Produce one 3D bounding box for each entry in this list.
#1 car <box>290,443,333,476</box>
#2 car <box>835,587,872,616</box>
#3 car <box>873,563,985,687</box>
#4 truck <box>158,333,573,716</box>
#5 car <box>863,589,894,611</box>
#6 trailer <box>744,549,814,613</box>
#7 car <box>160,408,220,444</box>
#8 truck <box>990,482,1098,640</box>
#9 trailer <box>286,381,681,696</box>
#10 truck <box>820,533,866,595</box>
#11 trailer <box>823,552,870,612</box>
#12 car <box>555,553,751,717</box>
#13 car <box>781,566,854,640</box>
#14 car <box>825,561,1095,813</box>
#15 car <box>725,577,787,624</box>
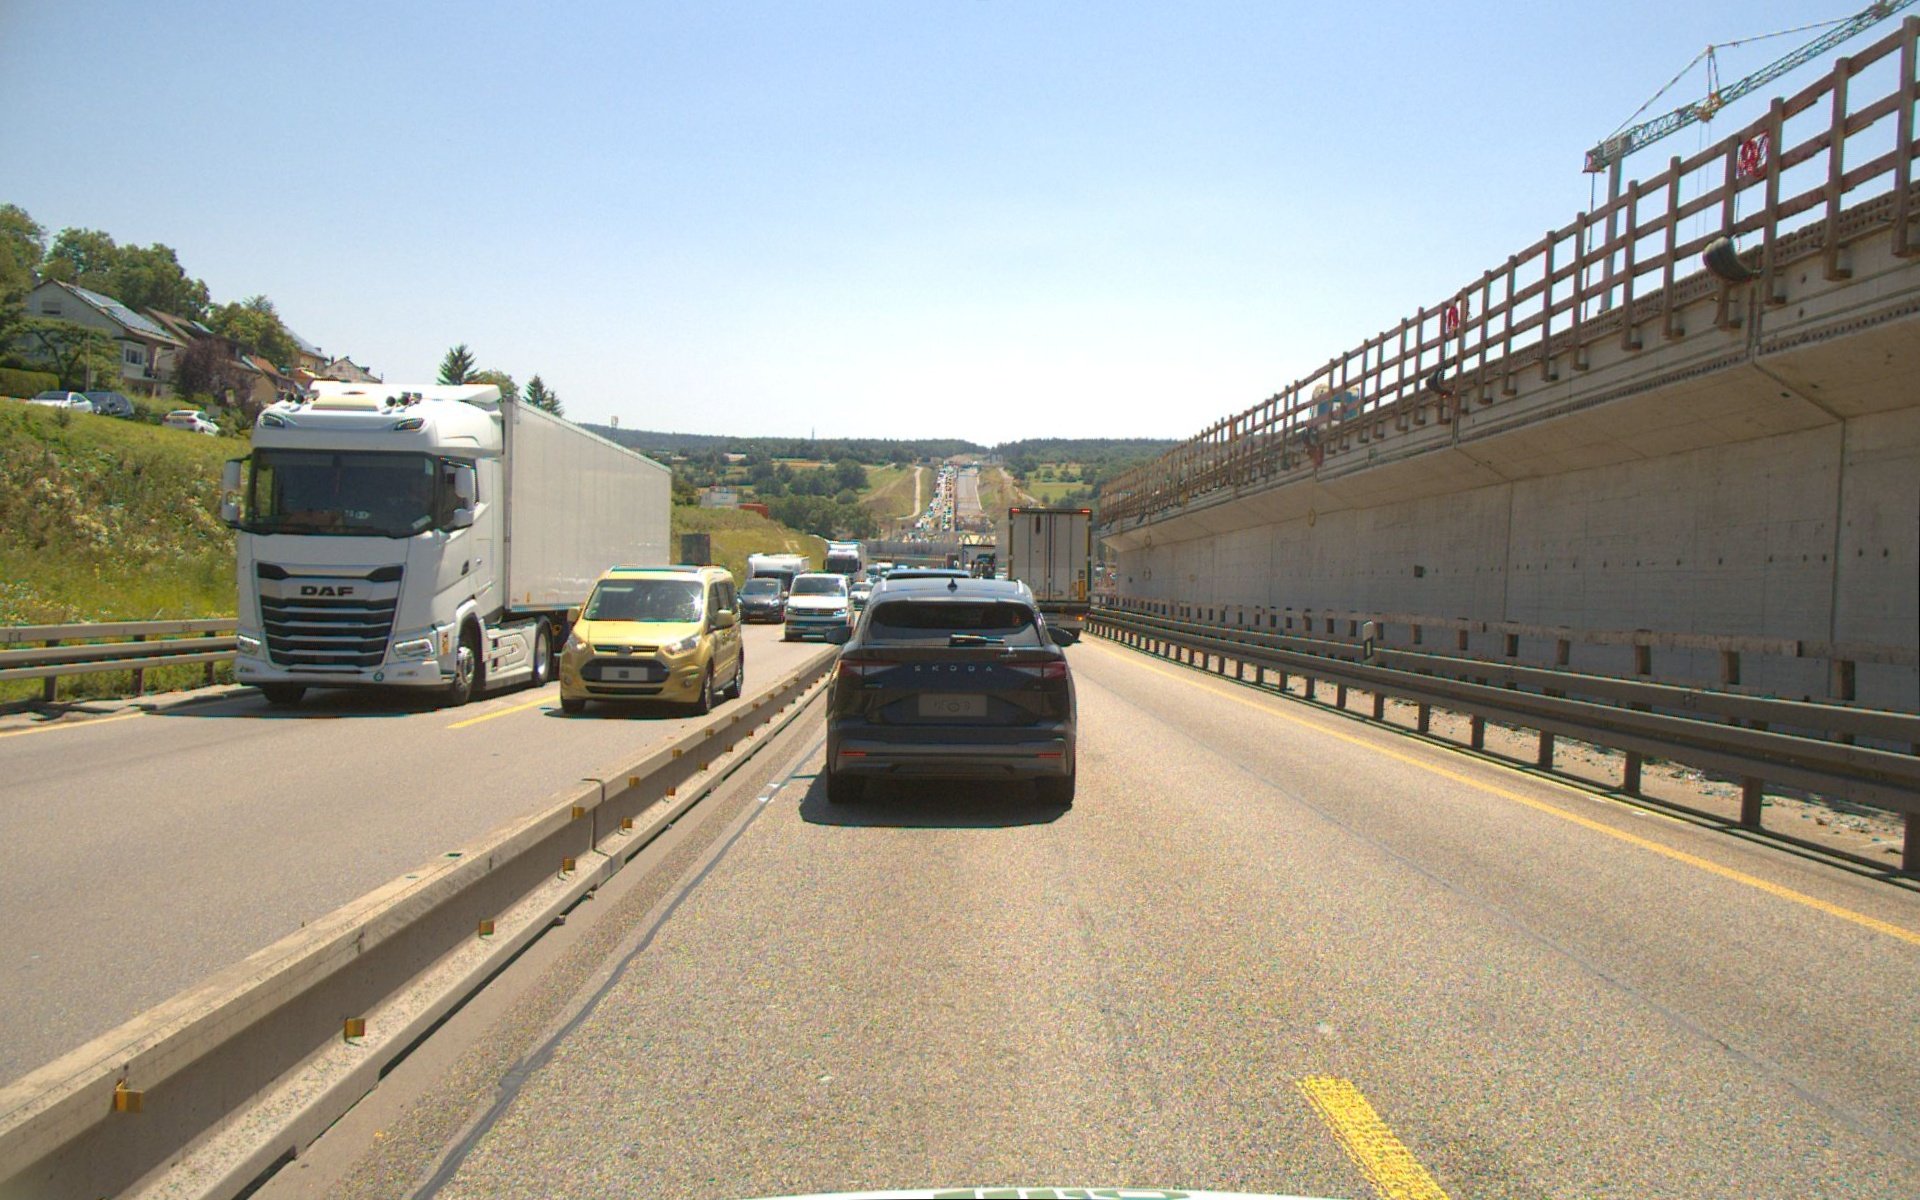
[{"bbox_3d":[-42.539,-9.207,108.620,1.891,1.758,3.989,1,0,-11],"label":"car"},{"bbox_3d":[-5.519,0.098,85.926,1.668,1.466,3.999,0,-1,0],"label":"car"},{"bbox_3d":[-0.607,0.415,29.203,1.715,1.928,3.752,4,0,-4],"label":"car"},{"bbox_3d":[-7.560,-0.832,22.170,3.115,4.312,6.484,1,-1,0],"label":"truck"},{"bbox_3d":[-5.180,0.000,105.190,1.735,1.311,3.999,2,-1,0],"label":"car"},{"bbox_3d":[-7.884,-0.781,72.649,2.434,2.659,5.866,0,-1,0],"label":"trailer"},{"bbox_3d":[-41.402,-9.367,89.029,1.959,1.342,3.988,5,-1,-12],"label":"car"},{"bbox_3d":[2.648,-1.105,55.996,2.788,4.696,11.808,2,-1,-1],"label":"truck"},{"bbox_3d":[-7.607,-0.861,29.205,3.155,4.231,13.406,1,0,-1],"label":"trailer"},{"bbox_3d":[-9.006,-2.692,128.199,2.697,4.300,8.098,5,-1,0],"label":"truck"},{"bbox_3d":[-9.157,-1.306,134.887,2.705,4.347,14.630,5,-1,-1],"label":"trailer"},{"bbox_3d":[-3.825,0.391,21.315,1.739,1.852,4.432,1,0,-1],"label":"car"},{"bbox_3d":[-4.192,0.104,49.205,1.825,2.049,4.804,1,-1,-1],"label":"car"},{"bbox_3d":[-0.070,0.578,12.785,1.747,1.625,3.753,1,0,-2],"label":"car"},{"bbox_3d":[-7.912,0.020,64.579,1.838,1.742,4.647,1,0,0],"label":"car"}]
